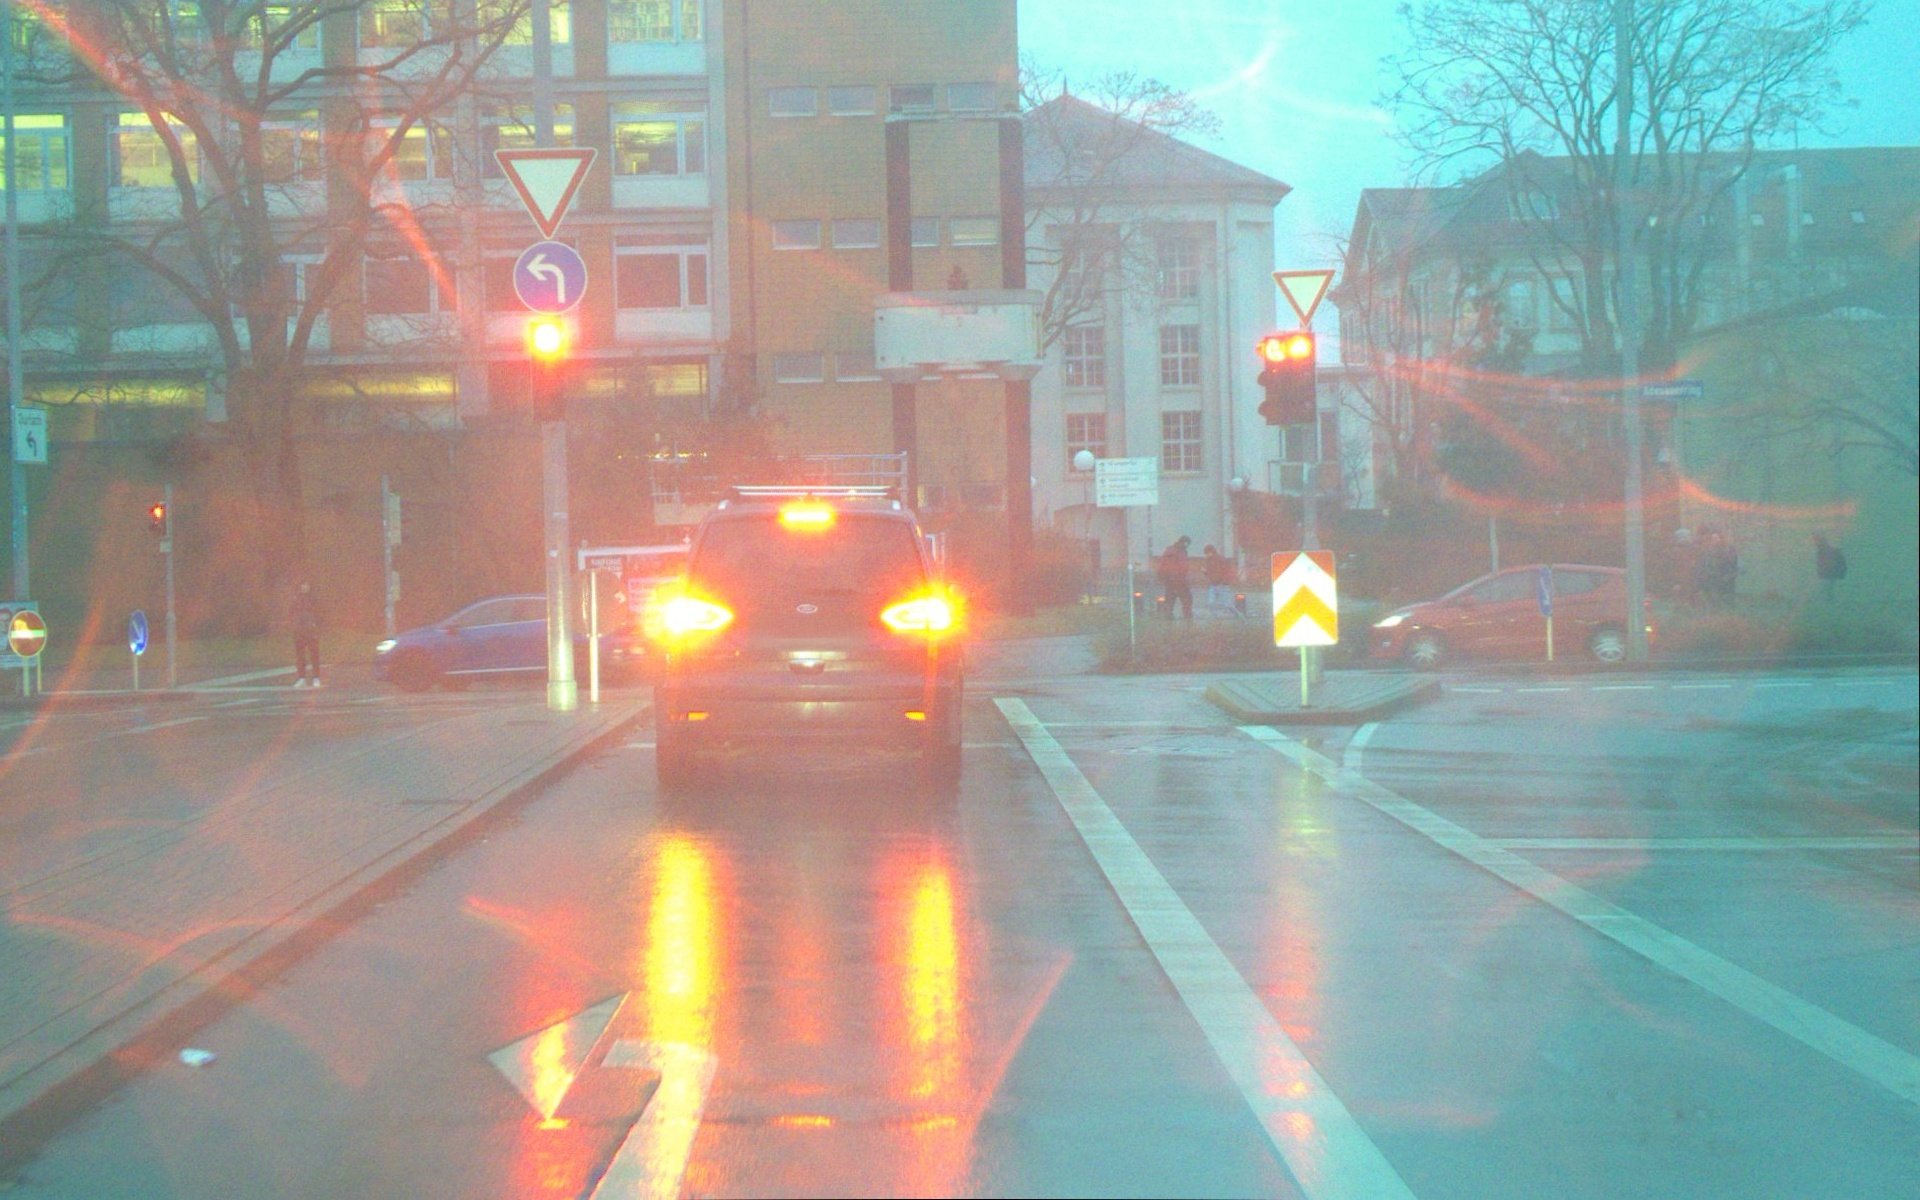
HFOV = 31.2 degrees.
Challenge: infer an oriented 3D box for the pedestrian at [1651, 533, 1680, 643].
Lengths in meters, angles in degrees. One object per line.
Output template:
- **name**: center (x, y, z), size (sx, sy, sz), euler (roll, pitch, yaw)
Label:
- **pedestrian**: center (11.762, -0.195, 57.332), size (0.438, 1.832, 0.459), euler (0, -1, 17)

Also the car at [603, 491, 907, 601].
- **car**: center (-3.886, -1.021, 65.600), size (5.548, 2.017, 1.999), euler (0, -1, 5)

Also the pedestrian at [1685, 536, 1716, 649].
- **pedestrian**: center (12.109, -0.118, 56.198), size (0.458, 1.832, 0.438), euler (0, -1, 17)

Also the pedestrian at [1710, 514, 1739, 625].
- **pedestrian**: center (12.705, -0.498, 57.151), size (0.438, 1.832, 0.459), euler (0, -1, 18)

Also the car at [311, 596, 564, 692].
- **car**: center (-7.729, 0.637, 50.909), size (3.412, 1.393, 1.468), euler (0, 0, 15)

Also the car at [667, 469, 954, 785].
- **car**: center (-0.901, 0.116, 21.817), size (1.647, 1.812, 4.000), euler (0, 1, -1)

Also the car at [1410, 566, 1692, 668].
- **car**: center (8.211, 0.240, 47.733), size (3.791, 1.393, 1.564), euler (0, -1, 12)
